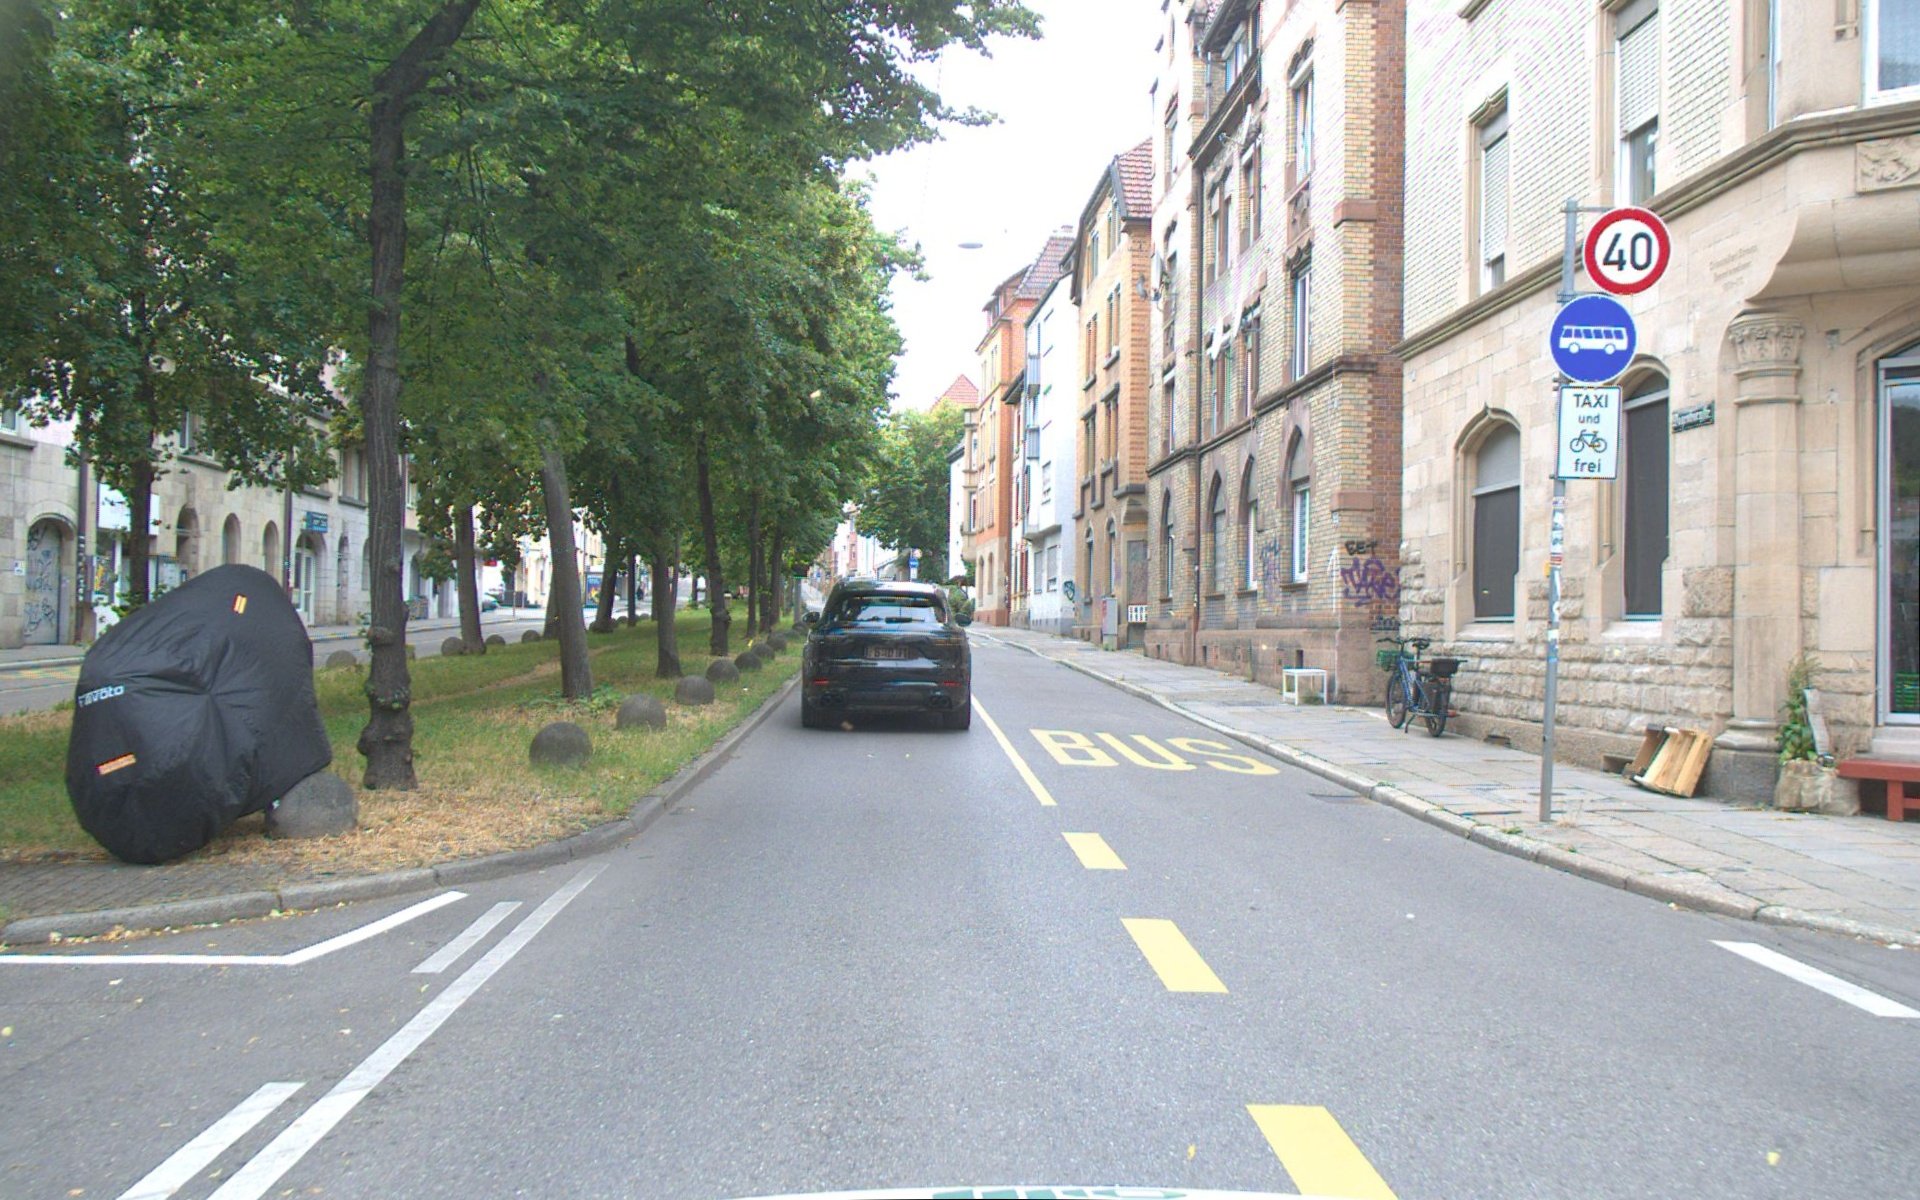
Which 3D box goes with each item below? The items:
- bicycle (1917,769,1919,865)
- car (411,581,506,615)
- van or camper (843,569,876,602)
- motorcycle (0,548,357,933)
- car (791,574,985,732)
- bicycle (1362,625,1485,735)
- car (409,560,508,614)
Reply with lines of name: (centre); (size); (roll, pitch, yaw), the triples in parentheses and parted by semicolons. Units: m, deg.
bicycle: (5.906, 0.996, 8.084); (0.668, 1.169, 2.940); (1, 2, -1)
car: (-25.401, -0.111, 83.883); (4.205, 1.444, 2.045); (4, 0, -5)
van or camper: (-8.963, -1.268, 147.010); (2.433, 2.852, 7.226); (1, 0, -7)
motorcycle: (-3.893, 0.557, 8.271); (0.807, 1.557, 2.624); (2, 3, -1)
car: (-0.978, 0.582, 20.025); (1.868, 1.695, 4.126); (1, 0, -9)
bicycle: (5.359, 0.892, 19.280); (0.668, 1.169, 2.482); (1, 0, -1)
car: (-27.914, -0.725, 92.288); (5.087, 2.784, 2.168); (2, -1, -16)
